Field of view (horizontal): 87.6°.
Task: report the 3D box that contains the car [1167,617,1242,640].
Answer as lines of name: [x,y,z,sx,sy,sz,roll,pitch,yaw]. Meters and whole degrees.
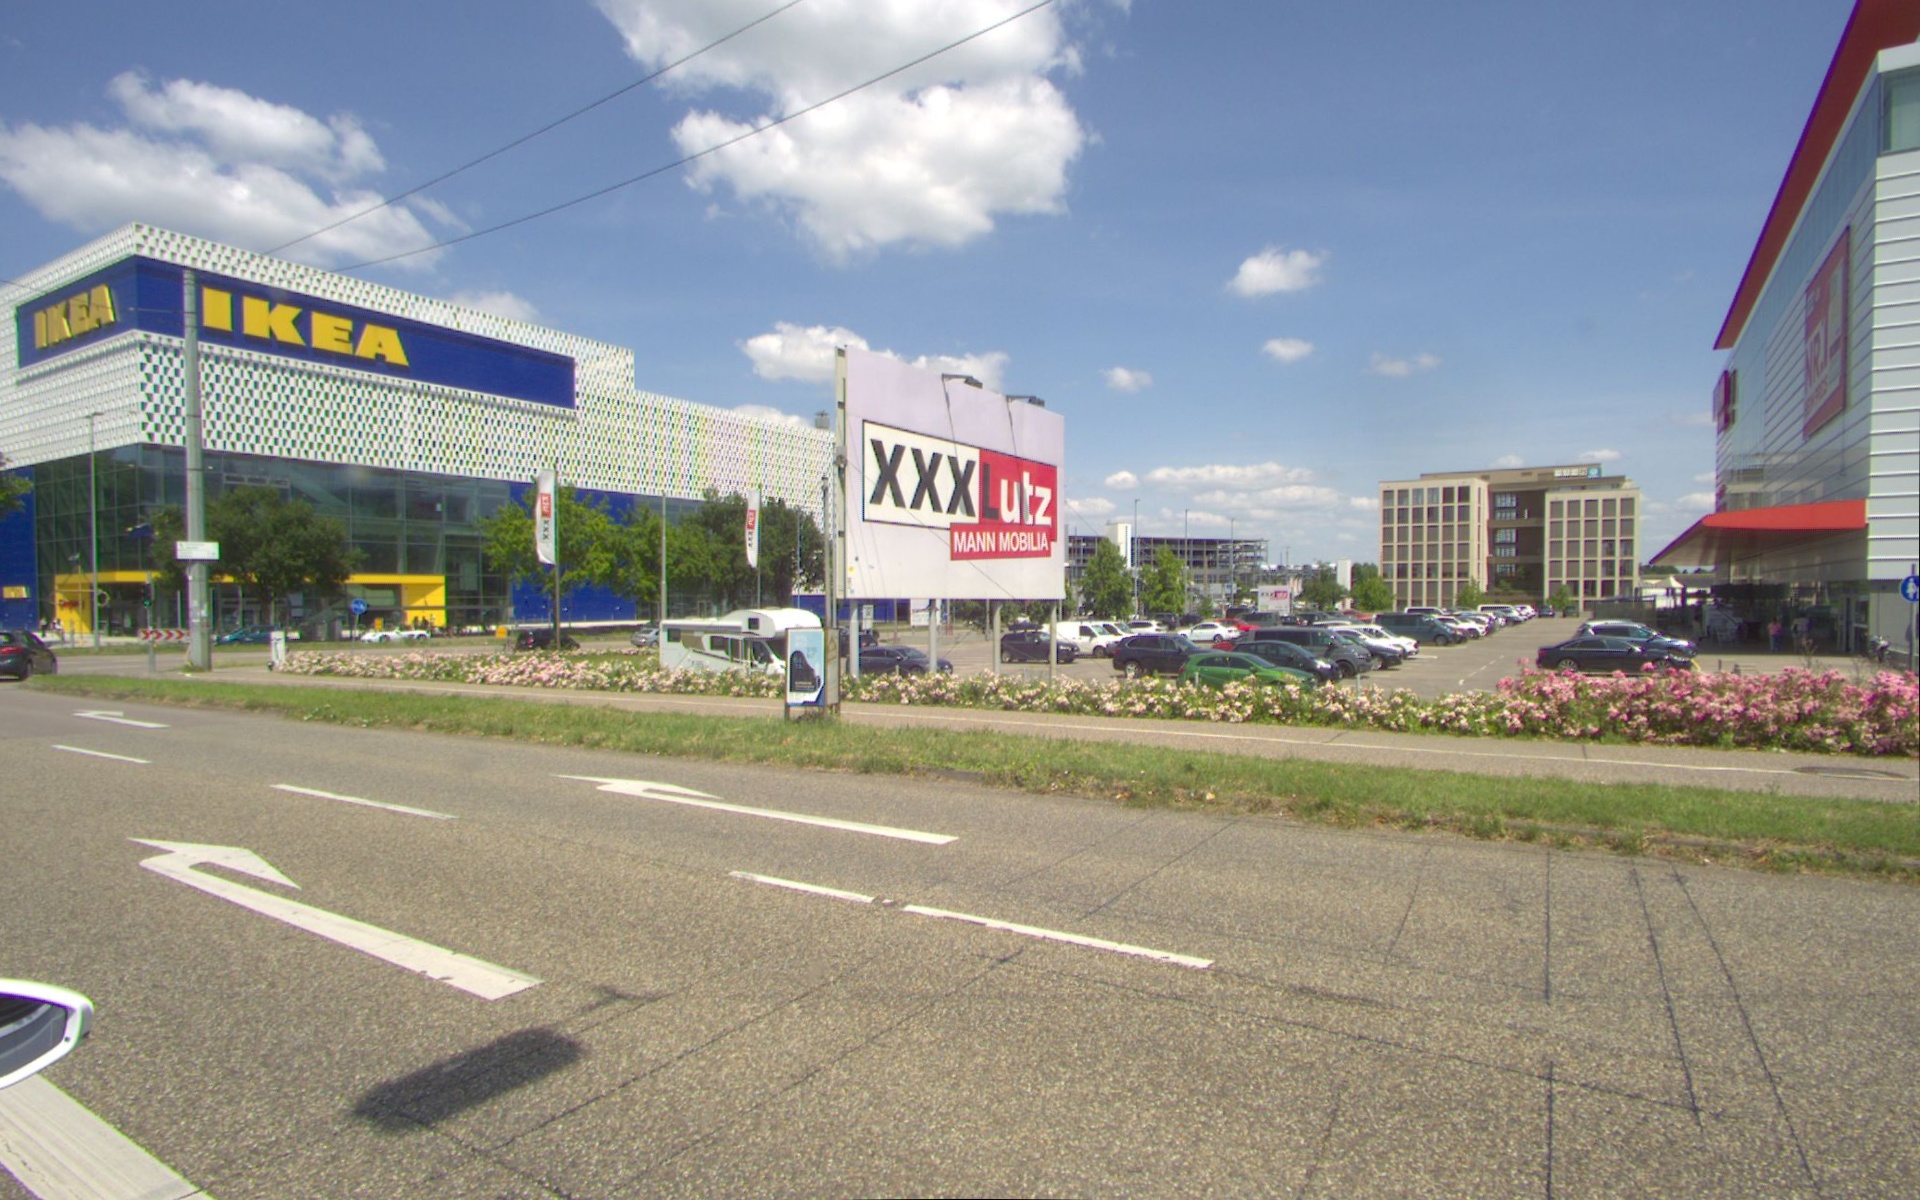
car: [17.702,2.044,72.608,4.930,1.631,1.990,-1,-1,33]

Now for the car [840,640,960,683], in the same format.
car: [-2.512,2.517,41.564,4.701,1.558,1.989,-1,1,33]

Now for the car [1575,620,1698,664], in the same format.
car: [28.949,1.771,43.011,4.271,1.804,1.990,-1,-2,33]

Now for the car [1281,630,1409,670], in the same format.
car: [16.705,2.129,43.506,4.930,1.631,1.990,-1,-1,33]

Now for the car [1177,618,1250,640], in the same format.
car: [18.886,2.132,74.649,4.930,1.631,1.990,-1,-1,33]

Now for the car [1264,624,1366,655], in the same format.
car: [19.271,2.127,54.399,4.928,1.631,1.990,-1,-1,32]

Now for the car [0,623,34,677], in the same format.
car: [-29.654,1.495,30.708,1.750,1.546,4.059,0,-1,-44]

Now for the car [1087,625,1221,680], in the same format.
car: [7.813,2.061,40.469,4.930,2.041,1.989,-1,1,33]

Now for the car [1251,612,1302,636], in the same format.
car: [28.102,2.112,88.905,3.943,2.040,1.990,-1,-1,32]

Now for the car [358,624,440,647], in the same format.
car: [-38.157,2.431,68.190,1.974,1.505,4.485,0,-2,36]

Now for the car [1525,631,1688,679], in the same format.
car: [23.783,1.990,37.034,4.930,1.631,1.990,-1,-1,33]

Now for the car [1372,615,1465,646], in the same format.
car: [28.468,1.882,62.191,5.106,1.889,1.991,-1,-1,31]

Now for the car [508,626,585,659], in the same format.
car: [-26.187,2.659,63.496,1.972,2.040,4.172,-1,-1,33]

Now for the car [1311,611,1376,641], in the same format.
car: [26.810,1.790,69.967,3.943,2.040,1.990,-1,-1,32]

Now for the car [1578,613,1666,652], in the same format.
car: [35.944,1.753,54.505,3.943,2.040,1.990,-1,-1,32]

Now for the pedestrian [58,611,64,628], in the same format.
pedestrian: [-72.722,1.577,81.014,0.263,1.360,0.288,0,0,32]

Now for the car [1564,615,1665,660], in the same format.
car: [31.260,1.767,47.966,3.943,2.040,1.990,-1,-1,32]

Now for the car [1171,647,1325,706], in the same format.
car: [8.969,2.326,31.232,4.242,1.517,1.988,-1,2,33]

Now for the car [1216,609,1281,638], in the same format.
car: [23.942,1.944,83.156,4.930,2.333,1.990,-1,-1,33]

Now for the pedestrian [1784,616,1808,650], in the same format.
pedestrian: [39.408,1.539,47.211,0.725,1.578,0.739,0,-1,30]

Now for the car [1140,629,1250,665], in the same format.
car: [11.657,2.317,49.773,4.930,1.632,1.989,-1,0,33]

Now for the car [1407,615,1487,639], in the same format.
car: [34.209,1.905,70.380,4.930,1.631,1.990,-1,-1,33]

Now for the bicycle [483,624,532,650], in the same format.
bicycle: [-26.092,2.127,57.785,0.976,1.500,2.415,0,-1,37]

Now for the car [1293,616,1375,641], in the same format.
car: [25.364,1.939,67.961,4.930,1.631,1.990,-1,-1,33]

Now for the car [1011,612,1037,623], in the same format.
car: [9.971,2.699,155.256,1.974,1.505,4.485,0,-2,36]

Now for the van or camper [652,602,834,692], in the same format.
van or camper: [-8.113,1.663,36.967,7.129,3.059,2.499,-1,-1,36]

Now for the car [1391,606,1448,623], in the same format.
car: [45.048,1.433,98.180,4.930,1.631,1.990,-1,-1,33]

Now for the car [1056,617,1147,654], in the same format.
car: [8.221,2.032,58.298,4.930,2.033,1.990,-1,-1,33]

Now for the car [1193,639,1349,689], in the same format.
car: [10.955,2.203,35.396,4.930,1.570,1.990,-1,-1,33]

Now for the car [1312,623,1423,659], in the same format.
car: [20.391,2.020,50.178,4.930,1.672,1.990,-1,-1,33]

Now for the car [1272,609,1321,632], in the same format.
car: [31.166,1.902,92.681,3.943,2.040,1.990,-1,-1,32]

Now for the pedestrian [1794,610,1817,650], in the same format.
pedestrian: [40.470,1.436,47.935,0.725,1.893,0.739,0,-1,30]

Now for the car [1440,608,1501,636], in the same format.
car: [38.968,1.681,76.436,3.943,2.040,1.990,-1,-1,32]

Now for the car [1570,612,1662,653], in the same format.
car: [34.288,1.675,52.464,3.943,2.040,1.990,-1,-1,32]

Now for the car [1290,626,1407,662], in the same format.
car: [18.599,2.054,48.014,4.930,1.631,1.990,-1,-1,33]

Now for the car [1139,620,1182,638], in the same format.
car: [20.536,2.983,102.671,3.943,1.863,1.819,-1,-1,32]

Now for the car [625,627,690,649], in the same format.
car: [-22.011,2.765,72.966,1.975,1.505,4.138,0,-2,38]

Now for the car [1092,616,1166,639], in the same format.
car: [12.282,1.968,72.867,4.922,1.631,1.993,0,-1,27]

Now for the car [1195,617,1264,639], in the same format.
car: [21.281,2.193,79.076,4.930,1.631,1.990,-1,-1,33]

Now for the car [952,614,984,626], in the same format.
car: [1.044,2.626,132.641,1.974,1.505,4.485,0,-2,36]

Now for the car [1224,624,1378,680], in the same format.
car: [13.422,1.990,39.515,5.456,2.040,1.990,-1,-1,33]

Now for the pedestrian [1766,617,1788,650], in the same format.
pedestrian: [39.470,1.595,48.394,0.725,1.578,0.739,0,-1,30]

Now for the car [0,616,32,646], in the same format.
car: [-49.673,1.509,50.055,1.974,1.505,4.485,0,-2,36]

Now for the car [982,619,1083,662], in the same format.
car: [3.756,2.063,52.256,4.930,2.162,1.990,-1,-1,33]

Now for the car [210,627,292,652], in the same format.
car: [-44.856,2.505,63.399,1.974,1.505,3.779,0,-2,36]

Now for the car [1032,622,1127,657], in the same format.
car: [6.684,2.169,56.221,4.930,1.876,1.990,-1,-1,33]
